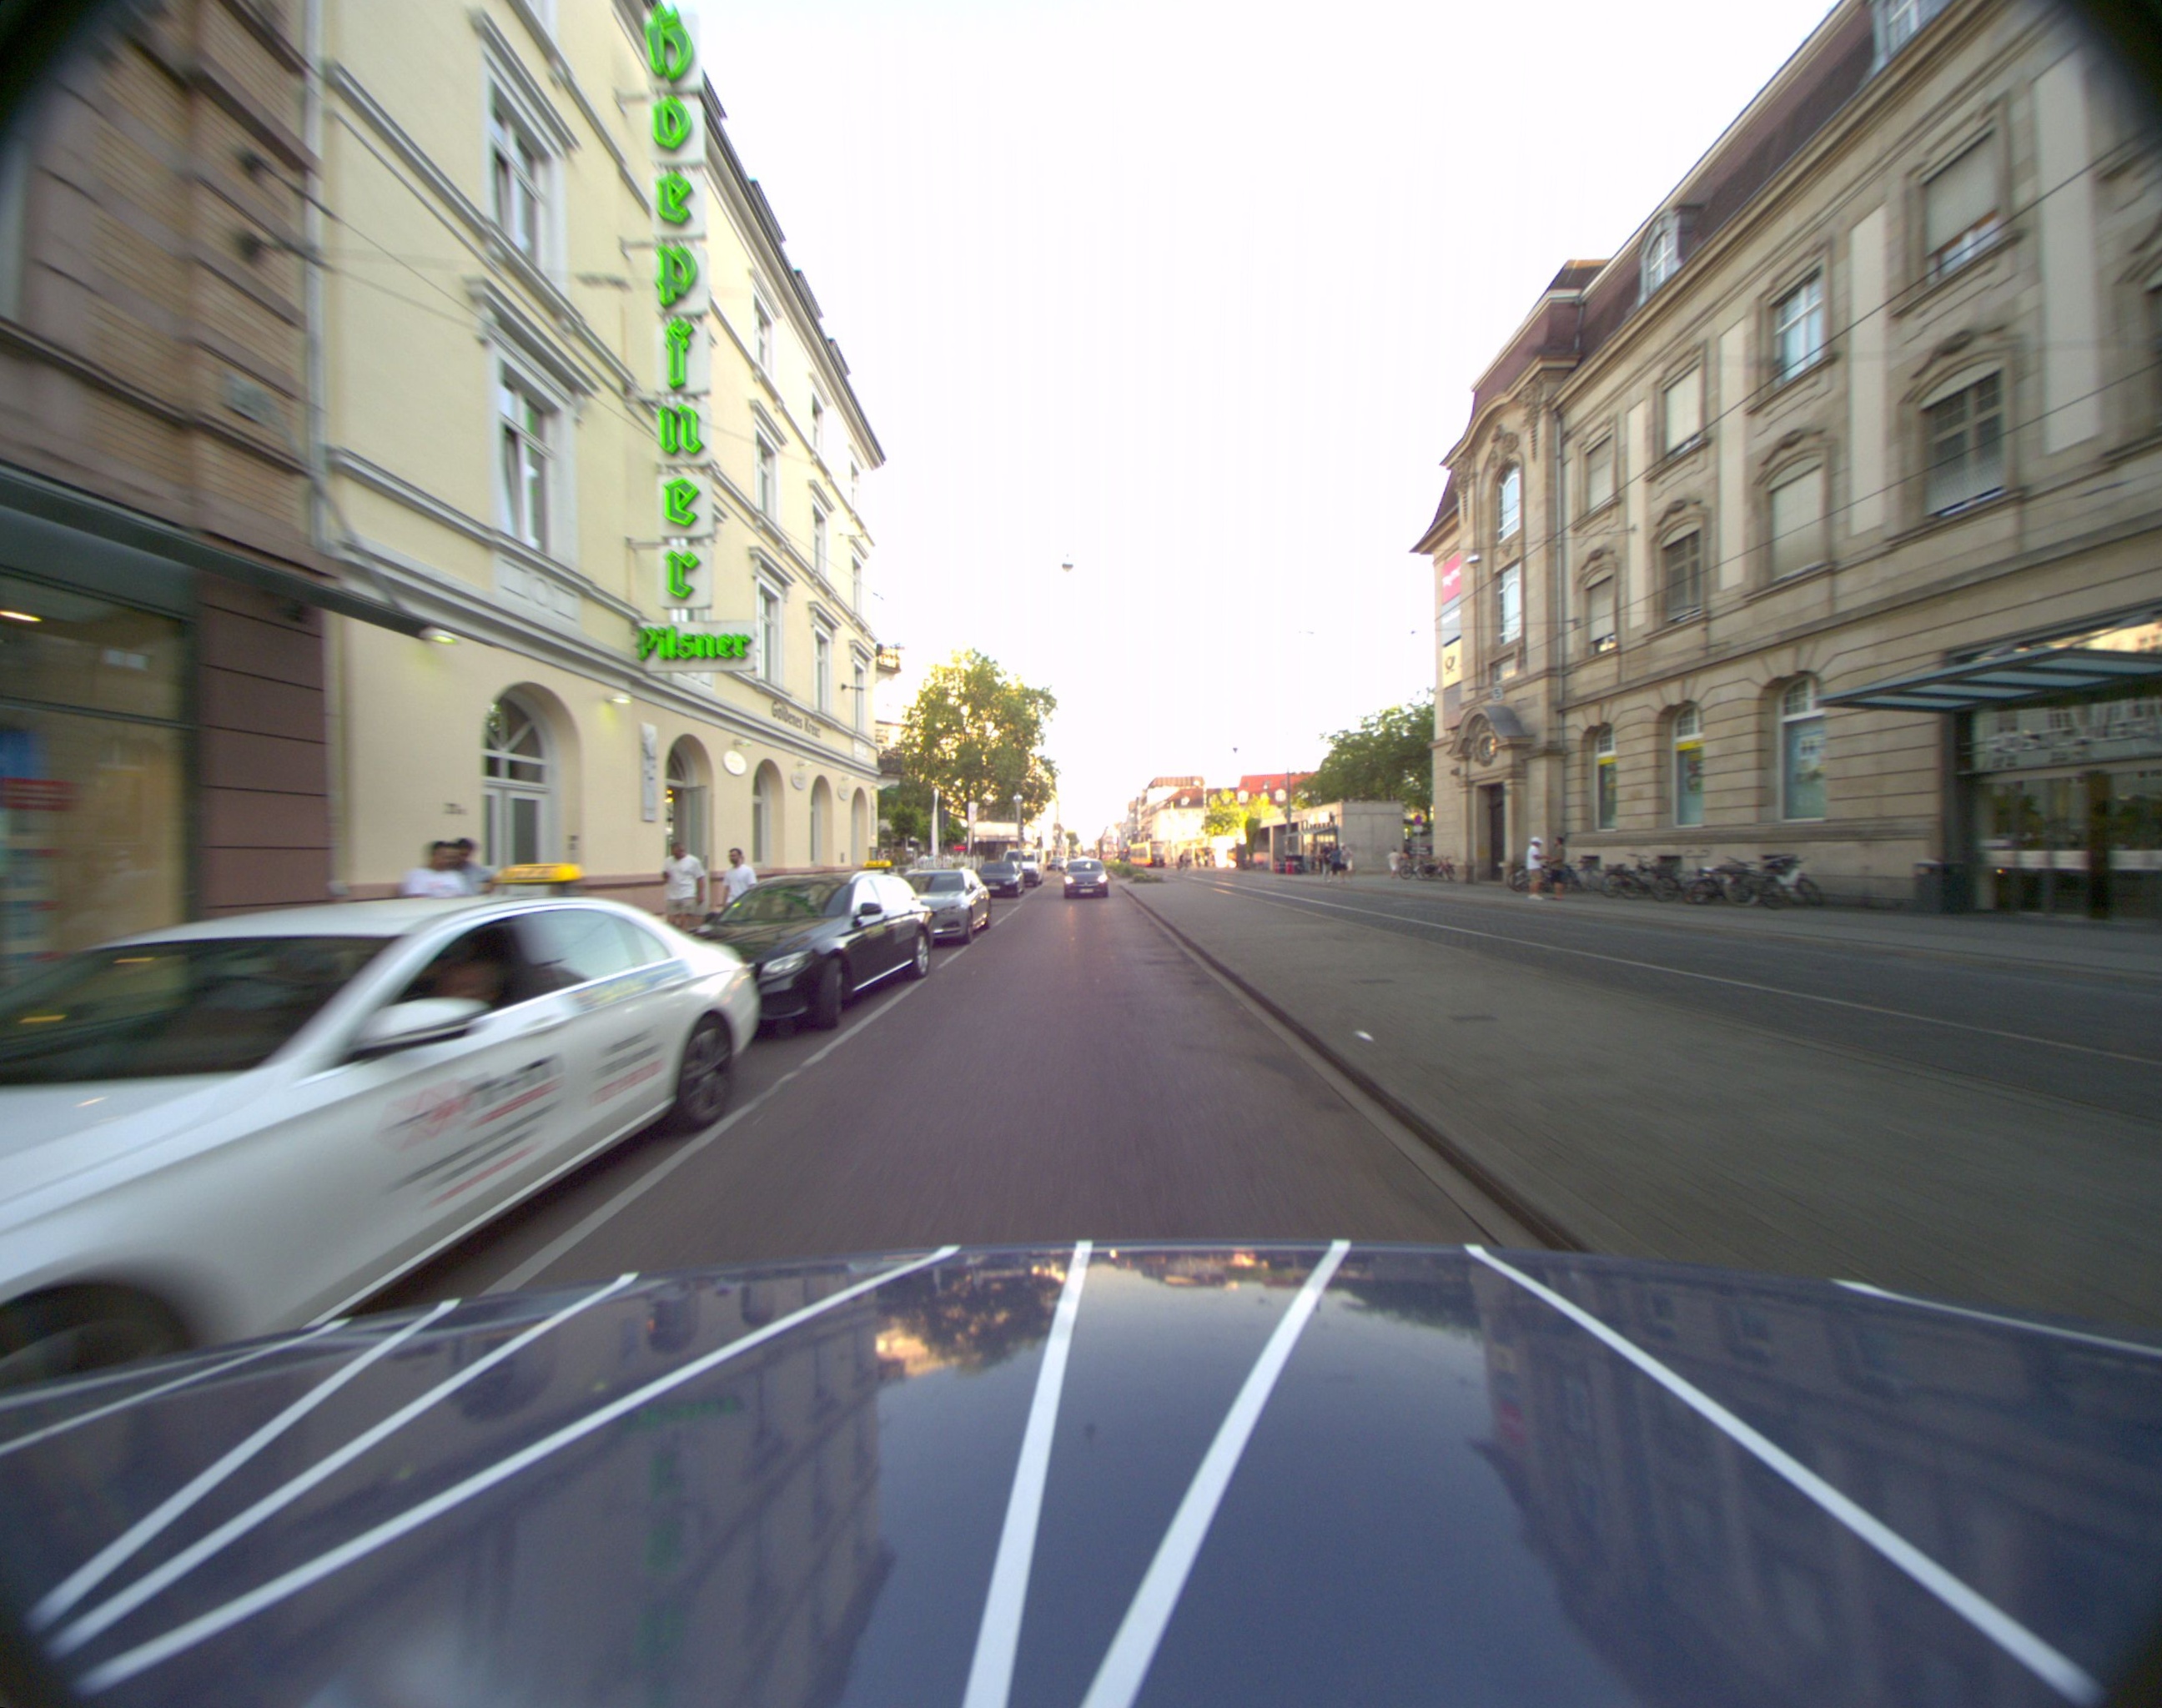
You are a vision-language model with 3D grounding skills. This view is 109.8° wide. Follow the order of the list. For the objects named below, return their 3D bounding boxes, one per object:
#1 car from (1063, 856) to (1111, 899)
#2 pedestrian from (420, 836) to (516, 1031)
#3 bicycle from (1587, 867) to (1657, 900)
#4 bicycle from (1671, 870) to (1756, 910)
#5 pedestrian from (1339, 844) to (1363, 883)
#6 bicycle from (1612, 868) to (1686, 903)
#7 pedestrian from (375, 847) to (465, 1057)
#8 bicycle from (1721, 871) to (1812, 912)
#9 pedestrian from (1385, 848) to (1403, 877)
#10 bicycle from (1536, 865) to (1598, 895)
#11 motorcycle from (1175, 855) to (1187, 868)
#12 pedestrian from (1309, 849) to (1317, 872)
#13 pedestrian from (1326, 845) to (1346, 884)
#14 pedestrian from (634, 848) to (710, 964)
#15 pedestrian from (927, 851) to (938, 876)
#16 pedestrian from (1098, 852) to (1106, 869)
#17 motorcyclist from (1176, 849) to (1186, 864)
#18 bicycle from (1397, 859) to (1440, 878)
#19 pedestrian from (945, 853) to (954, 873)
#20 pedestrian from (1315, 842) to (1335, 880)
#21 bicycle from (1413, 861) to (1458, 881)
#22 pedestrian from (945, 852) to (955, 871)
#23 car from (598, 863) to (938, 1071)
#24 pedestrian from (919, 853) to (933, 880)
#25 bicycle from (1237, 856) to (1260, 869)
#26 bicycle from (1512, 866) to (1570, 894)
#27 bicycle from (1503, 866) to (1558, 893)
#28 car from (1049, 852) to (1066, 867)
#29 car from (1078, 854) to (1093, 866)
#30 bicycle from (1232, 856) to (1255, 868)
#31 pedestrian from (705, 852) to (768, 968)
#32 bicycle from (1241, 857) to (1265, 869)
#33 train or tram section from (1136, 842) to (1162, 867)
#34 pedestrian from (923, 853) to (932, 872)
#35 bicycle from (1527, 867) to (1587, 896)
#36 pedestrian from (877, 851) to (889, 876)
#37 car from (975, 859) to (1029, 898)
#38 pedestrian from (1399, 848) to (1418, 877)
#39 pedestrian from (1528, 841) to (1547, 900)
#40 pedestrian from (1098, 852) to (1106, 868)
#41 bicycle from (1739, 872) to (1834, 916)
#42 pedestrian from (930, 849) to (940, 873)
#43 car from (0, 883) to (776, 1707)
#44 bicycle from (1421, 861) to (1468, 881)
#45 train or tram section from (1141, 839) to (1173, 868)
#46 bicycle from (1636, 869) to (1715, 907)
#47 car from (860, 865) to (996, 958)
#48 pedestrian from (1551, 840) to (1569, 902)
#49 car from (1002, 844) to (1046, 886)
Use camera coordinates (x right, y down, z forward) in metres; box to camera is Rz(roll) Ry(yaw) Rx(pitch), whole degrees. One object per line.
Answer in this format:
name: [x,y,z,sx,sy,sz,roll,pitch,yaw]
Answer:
car: [0.236,0.864,30.165,1.738,1.495,4.000,-2,1,1]
pedestrian: [-5.785,0.719,7.198,0.374,1.758,0.663,1,1,-3]
bicycle: [15.170,0.829,21.327,1.579,0.869,0.451,-2,1,5]
bicycle: [15.129,0.860,18.198,1.579,0.869,0.451,-2,1,5]
pedestrian: [12.046,0.424,33.903,0.677,1.726,0.679,0,0,-21]
bicycle: [15.342,0.846,20.545,1.579,0.869,0.451,-2,1,5]
pedestrian: [-5.731,0.824,6.605,0.374,1.758,0.455,1,1,-3]
bicycle: [15.578,0.852,17.283,1.579,0.869,0.451,-2,1,5]
pedestrian: [16.668,0.446,40.468,0.661,1.553,0.679,-1,1,-3]
bicycle: [15.039,0.813,23.544,1.579,0.869,0.451,-2,1,5]
motorcycle: [10.349,0.742,78.330,0.804,1.230,1.782,-2,1,22]
pedestrian: [16.445,0.465,53.809,0.394,1.643,0.401,-2,1,-6]
pedestrian: [11.370,0.472,33.884,0.483,1.726,0.679,0,0,-22]
pedestrian: [-6.248,0.779,11.636,0.761,1.679,0.551,4,0,0]
pedestrian: [-7.660,0.499,39.207,0.532,1.288,0.490,-1,0,-15]
pedestrian: [2.057,0.638,73.037,0.638,1.616,0.519,-1,1,-10]
motorcyclist: [10.354,0.245,78.320,0.798,1.431,0.801,-2,1,21]
bicycle: [16.900,0.742,38.046,1.840,0.863,0.635,-2,1,-2]
pedestrian: [-8.823,0.599,51.065,0.532,1.325,0.491,-1,0,0]
pedestrian: [11.192,0.340,34.831,0.650,1.726,0.594,0,0,-9]
bicycle: [16.797,0.785,35.991,1.840,0.863,0.635,-2,1,-2]
pedestrian: [-8.980,0.515,52.153,0.532,1.289,0.491,-1,0,0]
car: [-3.075,0.997,8.652,1.737,1.581,4.442,-3,1,3]
pedestrian: [-7.563,0.623,37.034,0.532,1.288,0.491,-1,0,0]
bicycle: [16.042,0.822,72.801,2.131,1.153,0.692,-1,0,2]
bicycle: [15.364,0.868,25.393,1.579,0.869,0.451,-2,1,5]
bicycle: [15.336,0.864,25.932,1.579,0.869,0.451,-2,1,5]
car: [-2.604,0.597,85.673,1.771,1.565,4.000,1,1,1]
car: [0.604,0.778,99.388,1.810,1.474,4.283,-3,0,0]
bicycle: [15.915,0.810,74.538,2.131,1.153,0.692,-1,0,2]
pedestrian: [-5.248,0.838,11.575,0.619,1.679,0.486,4,1,17]
bicycle: [16.086,0.835,71.181,2.131,1.153,0.692,-1,0,2]
train or tram section: [10.255,0.096,115.381,2.902,3.664,11.983,-1,0,0]
pedestrian: [-10.318,0.564,51.068,0.532,1.289,0.491,-1,0,0]
bicycle: [15.330,0.877,24.473,1.579,0.869,0.451,-2,1,5]
pedestrian: [-10.731,0.530,41.190,0.532,1.325,0.491,-1,0,0]
car: [-3.154,0.951,31.114,1.701,1.382,4.547,1,1,0]
pedestrian: [17.411,0.451,40.379,0.661,1.553,0.679,-1,1,-3]
pedestrian: [12.726,0.462,21.170,0.375,1.622,0.494,-1,1,35]
pedestrian: [2.060,0.576,73.822,0.638,1.616,0.519,-1,1,-10]
bicycle: [15.365,0.866,16.566,1.579,0.869,0.451,-2,1,5]
pedestrian: [-9.484,0.448,49.386,0.490,1.549,0.532,-1,0,0]
car: [-3.105,1.027,3.013,1.737,1.502,4.864,-3,1,0]
bicycle: [16.861,0.789,35.268,1.840,0.863,0.635,-2,1,-2]
train or tram section: [10.166,-0.061,102.688,2.902,3.664,13.481,-1,0,0]
bicycle: [15.009,0.855,19.193,1.579,0.869,0.451,-2,1,5]
car: [-2.958,1.051,15.770,1.810,1.467,4.692,-2,1,0]
pedestrian: [13.117,0.451,20.806,0.375,1.663,0.494,-1,1,33]
car: [-2.972,0.526,40.501,1.857,2.055,5.215,0,0,1]
